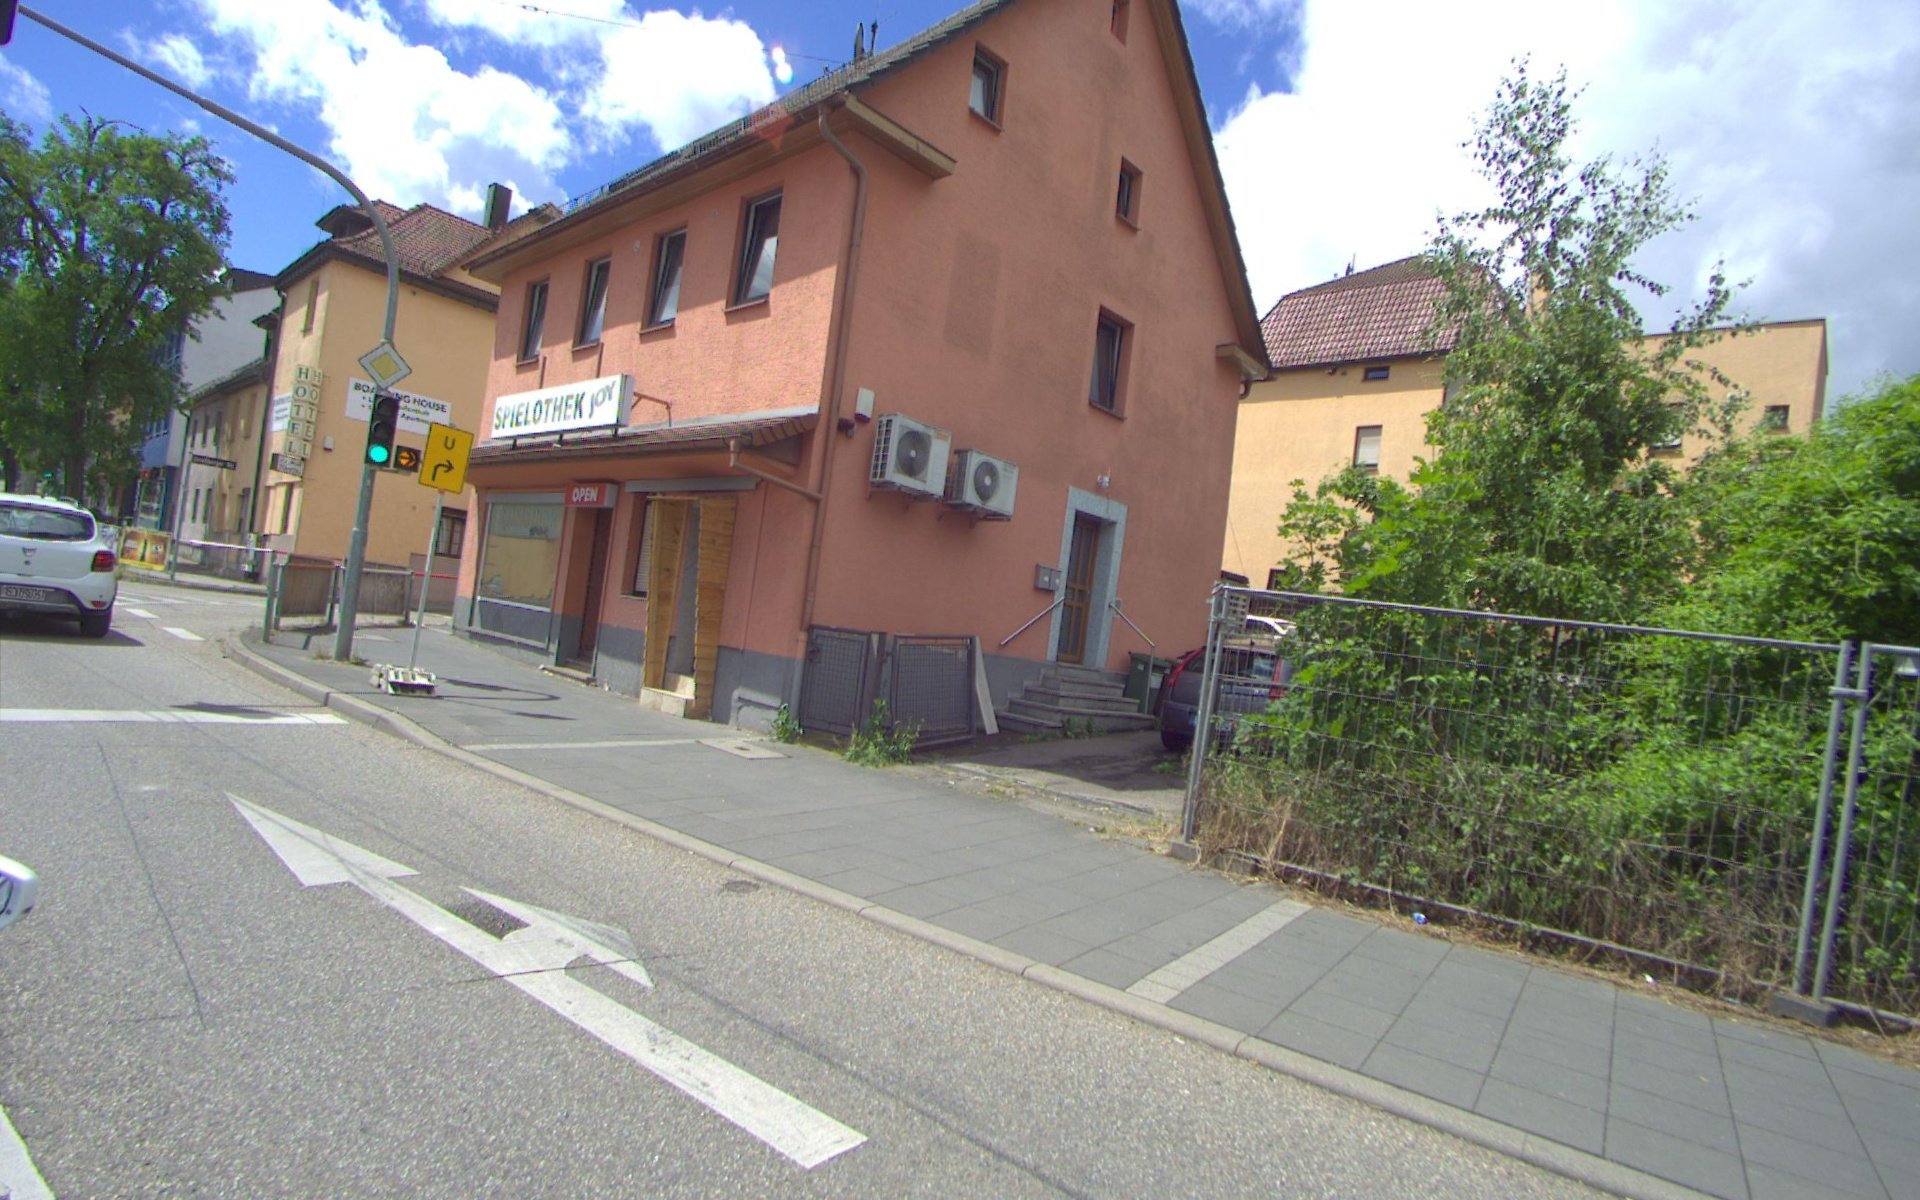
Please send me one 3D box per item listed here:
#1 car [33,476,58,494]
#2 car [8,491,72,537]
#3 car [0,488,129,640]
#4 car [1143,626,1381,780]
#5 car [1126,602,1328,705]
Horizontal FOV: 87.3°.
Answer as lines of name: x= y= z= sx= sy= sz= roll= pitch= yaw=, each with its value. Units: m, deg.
car: x=-114.000 y=-14.310 z=125.392 sx=1.985 sy=1.682 sz=3.957 roll=7 pitch=-1 yaw=-39
car: x=-39.608 y=-3.683 z=43.266 sx=1.782 sy=1.615 sz=3.950 roll=7 pitch=-1 yaw=-45
car: x=-11.643 y=-0.554 z=12.139 sx=3.738 sy=1.569 sz=1.713 roll=6 pitch=0 yaw=39
car: x=3.794 y=1.199 z=12.477 sx=1.627 sy=1.516 sz=2.796 roll=7 pitch=2 yaw=43
car: x=6.212 y=1.222 z=23.642 sx=3.947 sy=1.804 sz=1.990 roll=7 pitch=-1 yaw=44
